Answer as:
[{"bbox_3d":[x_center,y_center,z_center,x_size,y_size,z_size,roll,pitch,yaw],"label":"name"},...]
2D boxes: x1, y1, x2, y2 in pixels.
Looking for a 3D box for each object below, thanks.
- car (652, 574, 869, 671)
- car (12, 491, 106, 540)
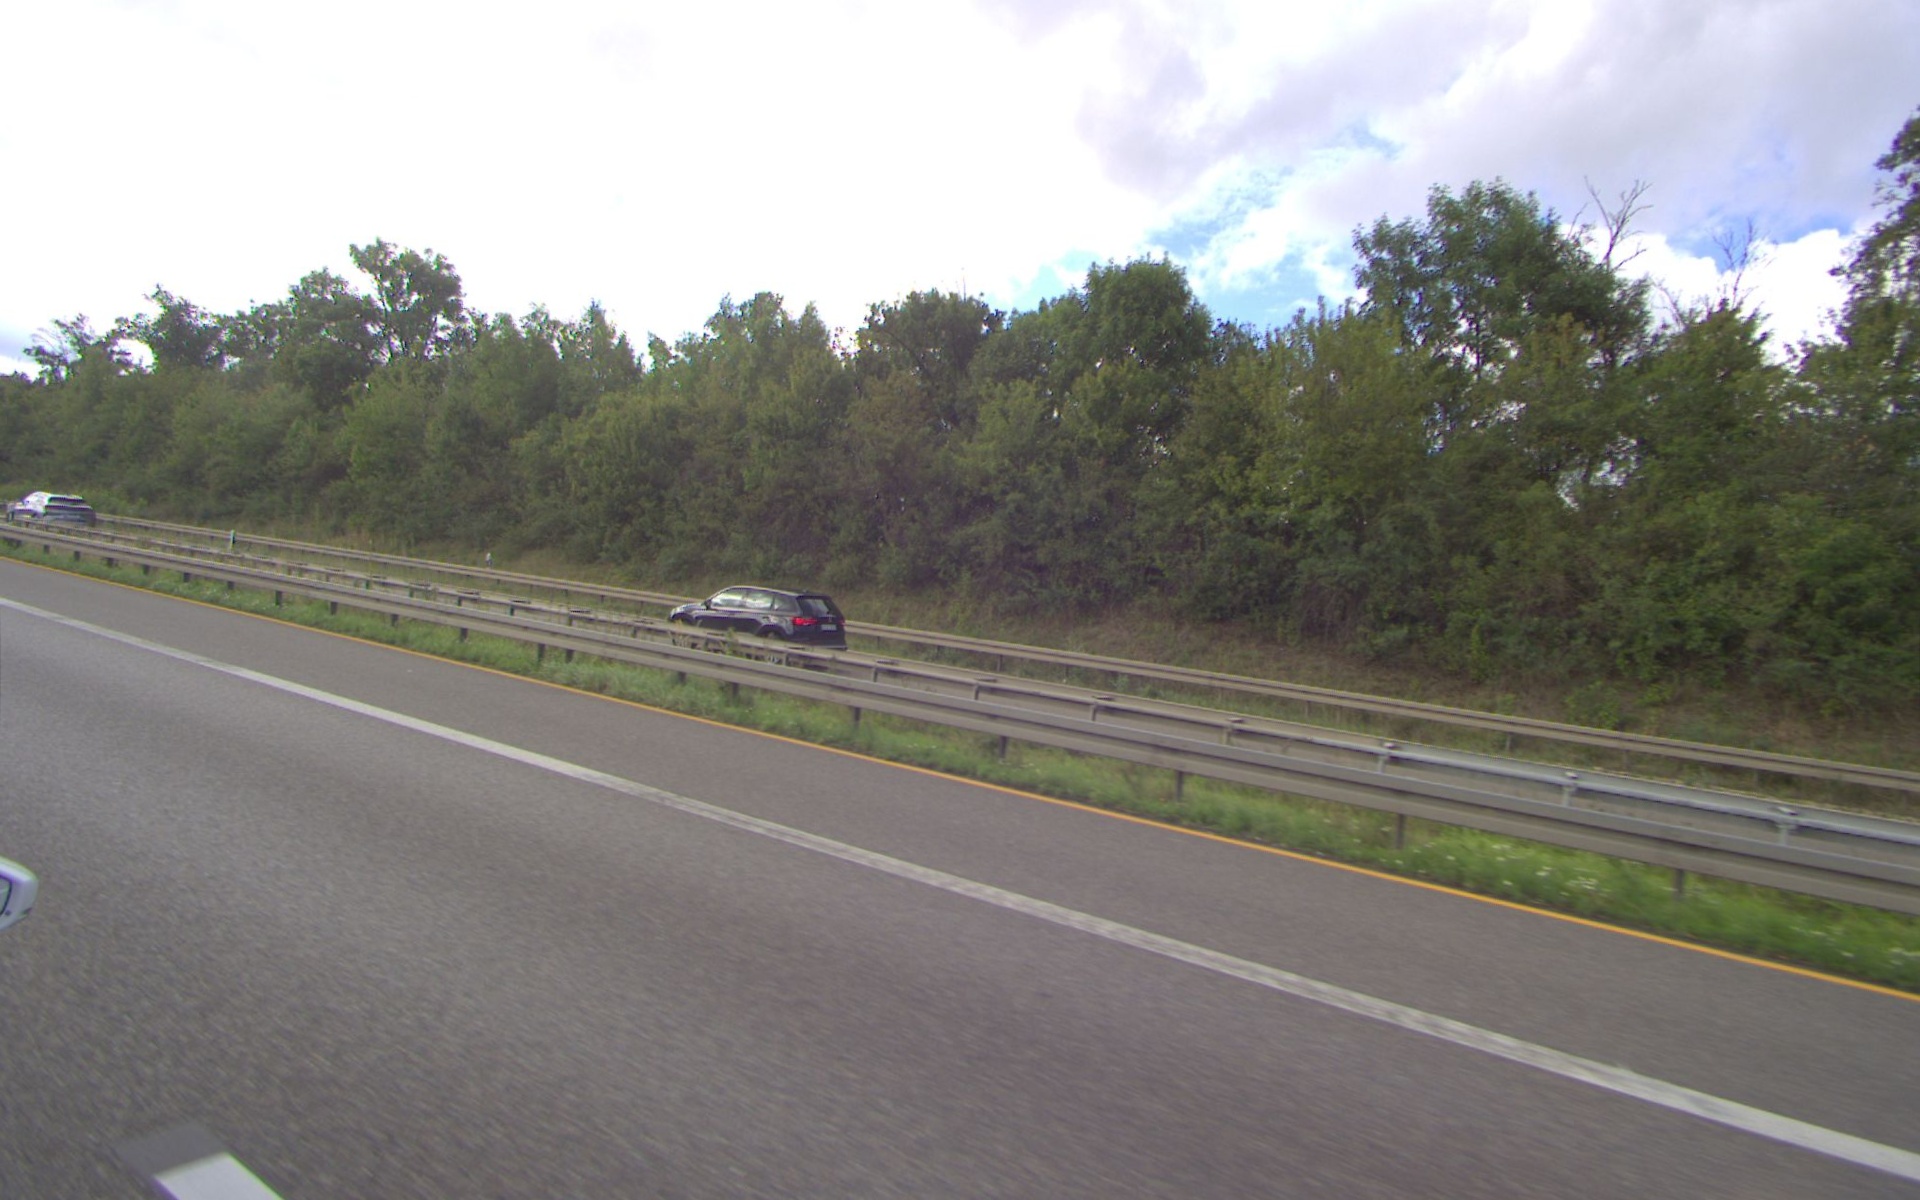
[{"bbox_3d":[-4.352,0.457,21.744,4.450,1.504,1.844,7,2,32],"label":"car"},{"bbox_3d":[-39.008,-3.667,43.514,4.234,1.671,1.848,7,2,32],"label":"car"}]
